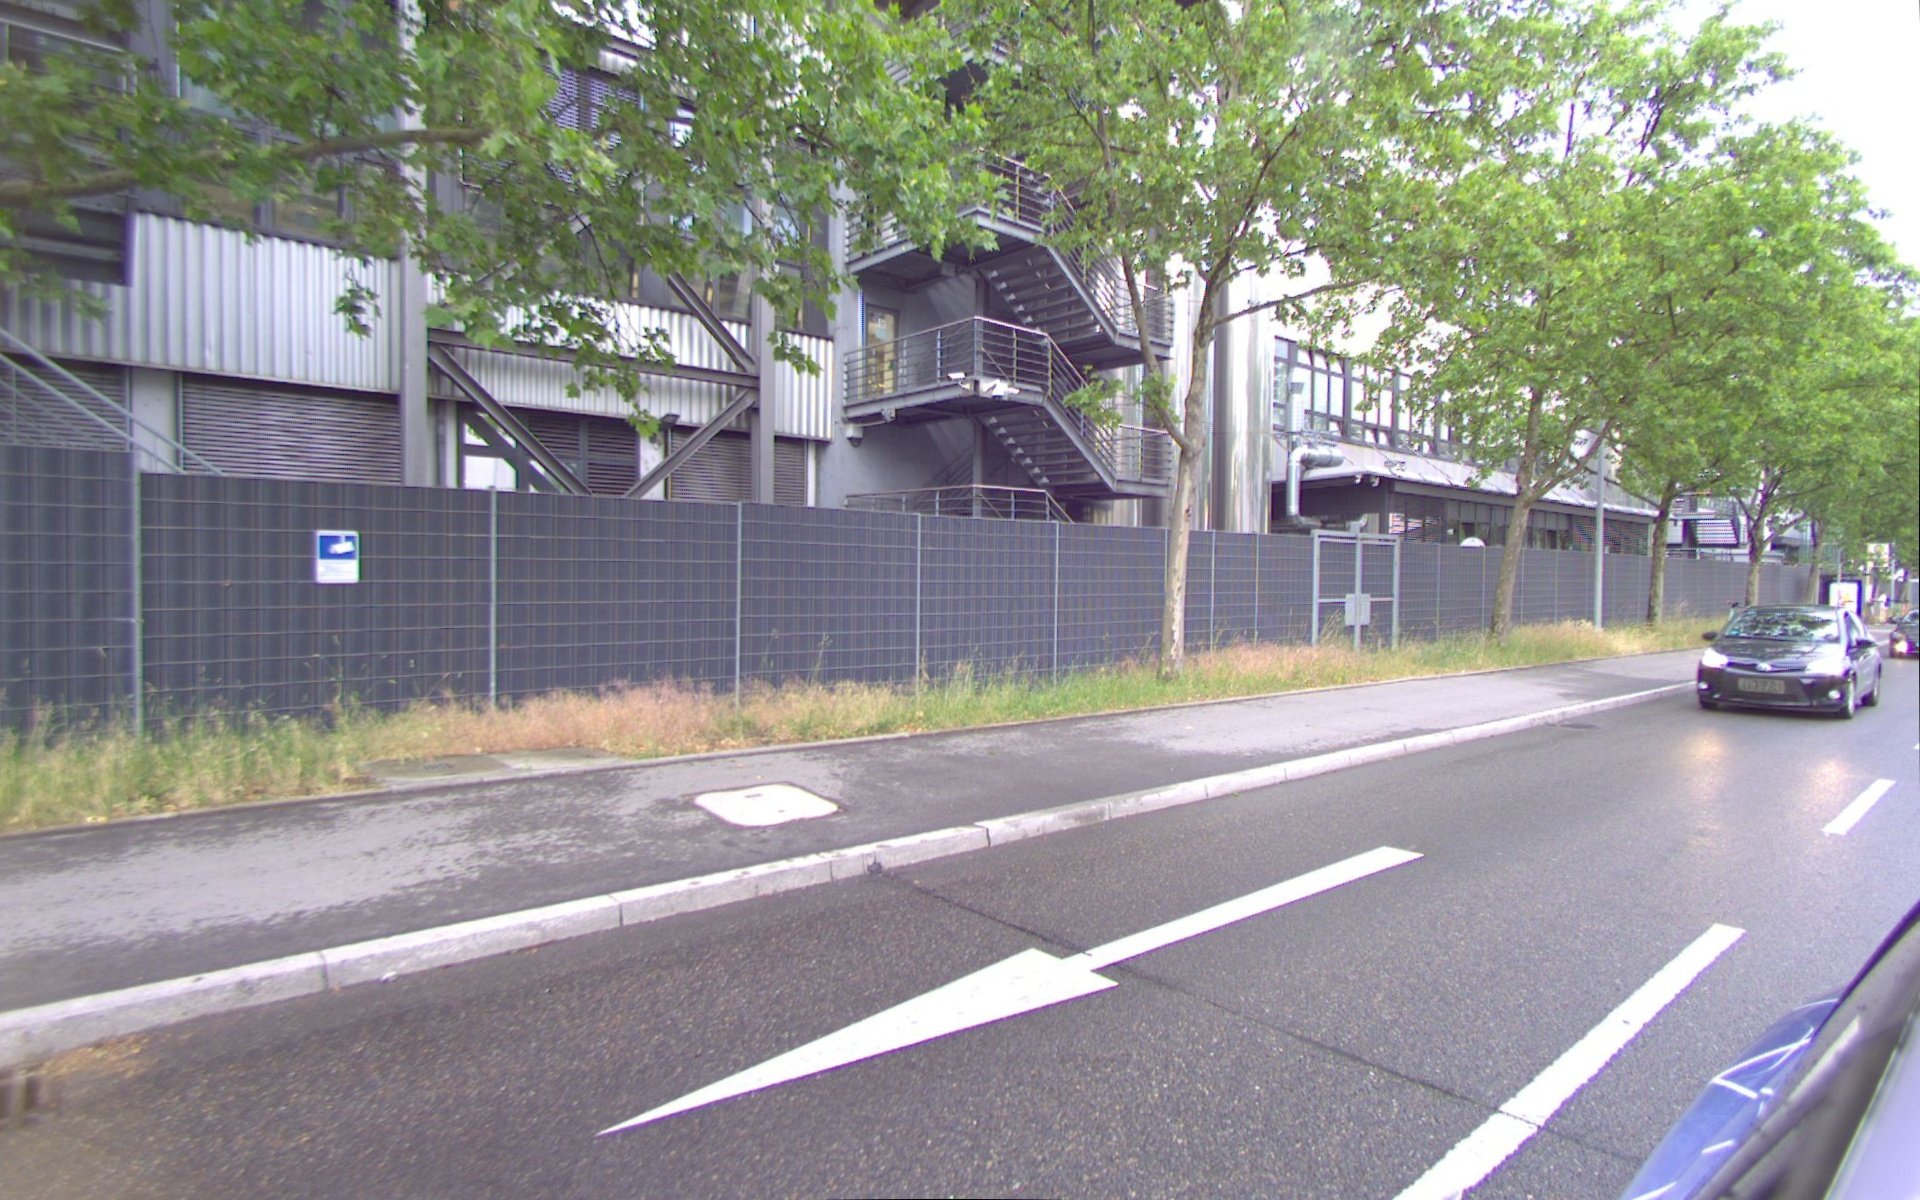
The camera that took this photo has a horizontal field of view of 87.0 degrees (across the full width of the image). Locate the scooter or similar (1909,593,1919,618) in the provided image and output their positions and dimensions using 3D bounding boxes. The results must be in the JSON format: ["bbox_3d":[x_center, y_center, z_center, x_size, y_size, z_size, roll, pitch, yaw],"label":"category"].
[{"bbox_3d":[52.408,0.294,55.353,1.341,1.311,0.437,0,1,-34],"label":"scooter or similar"}]

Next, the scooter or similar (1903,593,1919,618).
[{"bbox_3d":[50.918,0.302,54.162,1.277,1.311,0.437,0,1,-39],"label":"scooter or similar"}]

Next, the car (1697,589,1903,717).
[{"bbox_3d":[12.201,0.638,14.612,4.010,1.512,1.877,0,3,-45],"label":"car"}]

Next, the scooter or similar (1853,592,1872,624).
[{"bbox_3d":[37.319,0.323,41.861,1.222,1.325,0.329,0,1,-37],"label":"scooter or similar"}]

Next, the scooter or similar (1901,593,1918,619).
[{"bbox_3d":[49.405,0.315,52.674,1.277,1.311,0.437,0,1,-39],"label":"scooter or similar"}]

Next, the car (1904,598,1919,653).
[{"bbox_3d":[27.628,0.675,28.049,4.705,1.471,1.840,0,0,-43],"label":"car"}]

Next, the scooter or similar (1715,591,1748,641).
[{"bbox_3d":[20.580,0.417,26.988,1.087,1.285,0.330,0,1,-33],"label":"scooter or similar"}]

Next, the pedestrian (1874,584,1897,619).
[{"bbox_3d":[46.327,0.080,50.653,0.717,1.731,0.777,0,1,-42],"label":"pedestrian"}]

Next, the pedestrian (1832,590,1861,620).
[{"bbox_3d":[42.886,0.244,48.961,0.686,1.433,0.932,0,1,-42],"label":"pedestrian"}]
